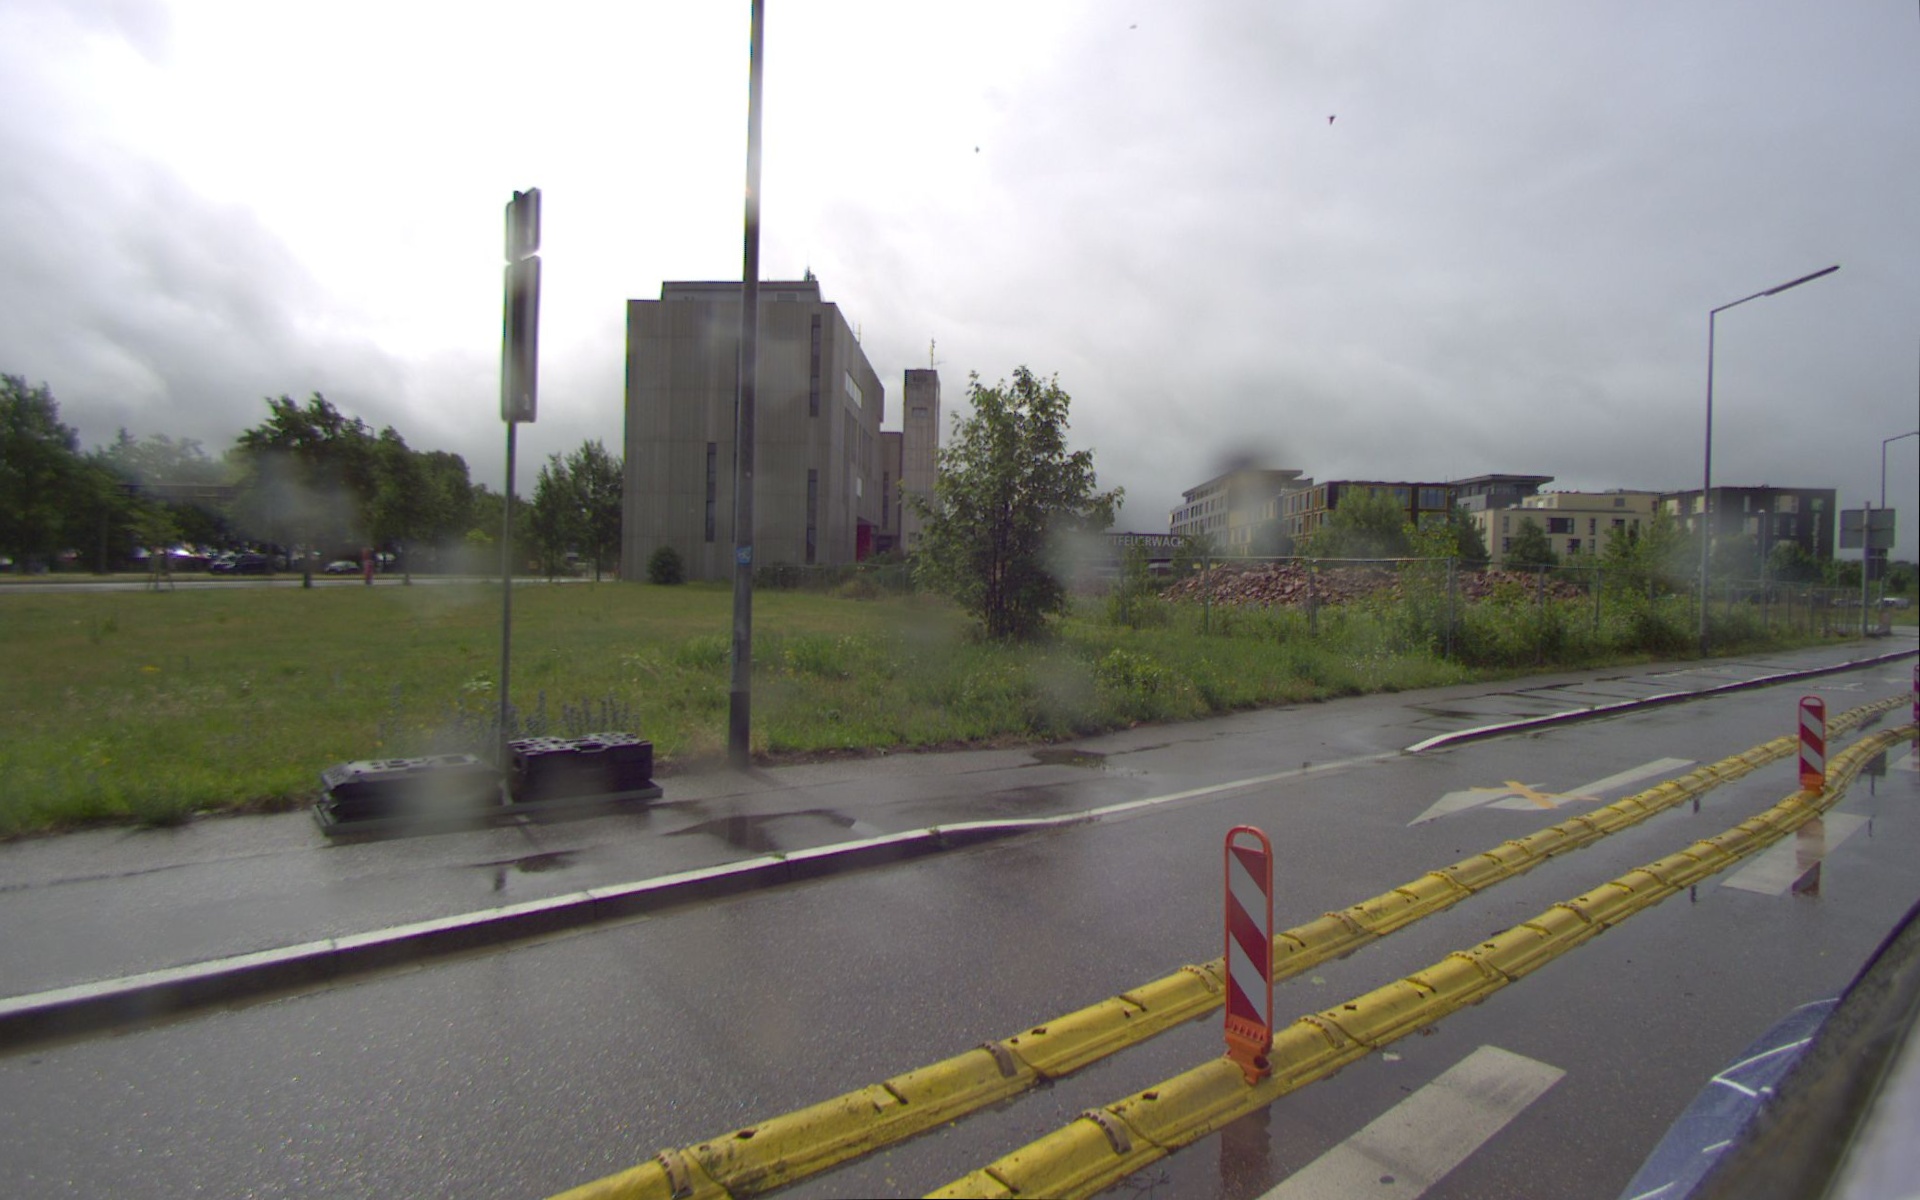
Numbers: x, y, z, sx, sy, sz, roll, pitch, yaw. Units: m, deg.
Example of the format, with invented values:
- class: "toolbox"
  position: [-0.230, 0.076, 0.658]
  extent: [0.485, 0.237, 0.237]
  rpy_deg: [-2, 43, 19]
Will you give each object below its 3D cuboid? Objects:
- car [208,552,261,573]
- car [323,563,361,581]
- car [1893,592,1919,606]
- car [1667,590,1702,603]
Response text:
- class: "car"
  position: [-57.101, -2.966, 79.731]
  extent: [1.515, 1.578, 3.521]
  rpy_deg: [1, 1, 3]
- class: "car"
  position: [-55.716, -2.544, 91.282]
  extent: [1.512, 1.578, 3.528]
  rpy_deg: [1, 1, -5]
- class: "car"
  position: [140.272, -0.184, 148.844]
  extent: [3.931, 2.039, 1.997]
  rpy_deg: [1, 1, 6]
- class: "car"
  position: [90.965, -0.419, 127.109]
  extent: [3.591, 1.603, 1.652]
  rpy_deg: [1, 1, -17]
